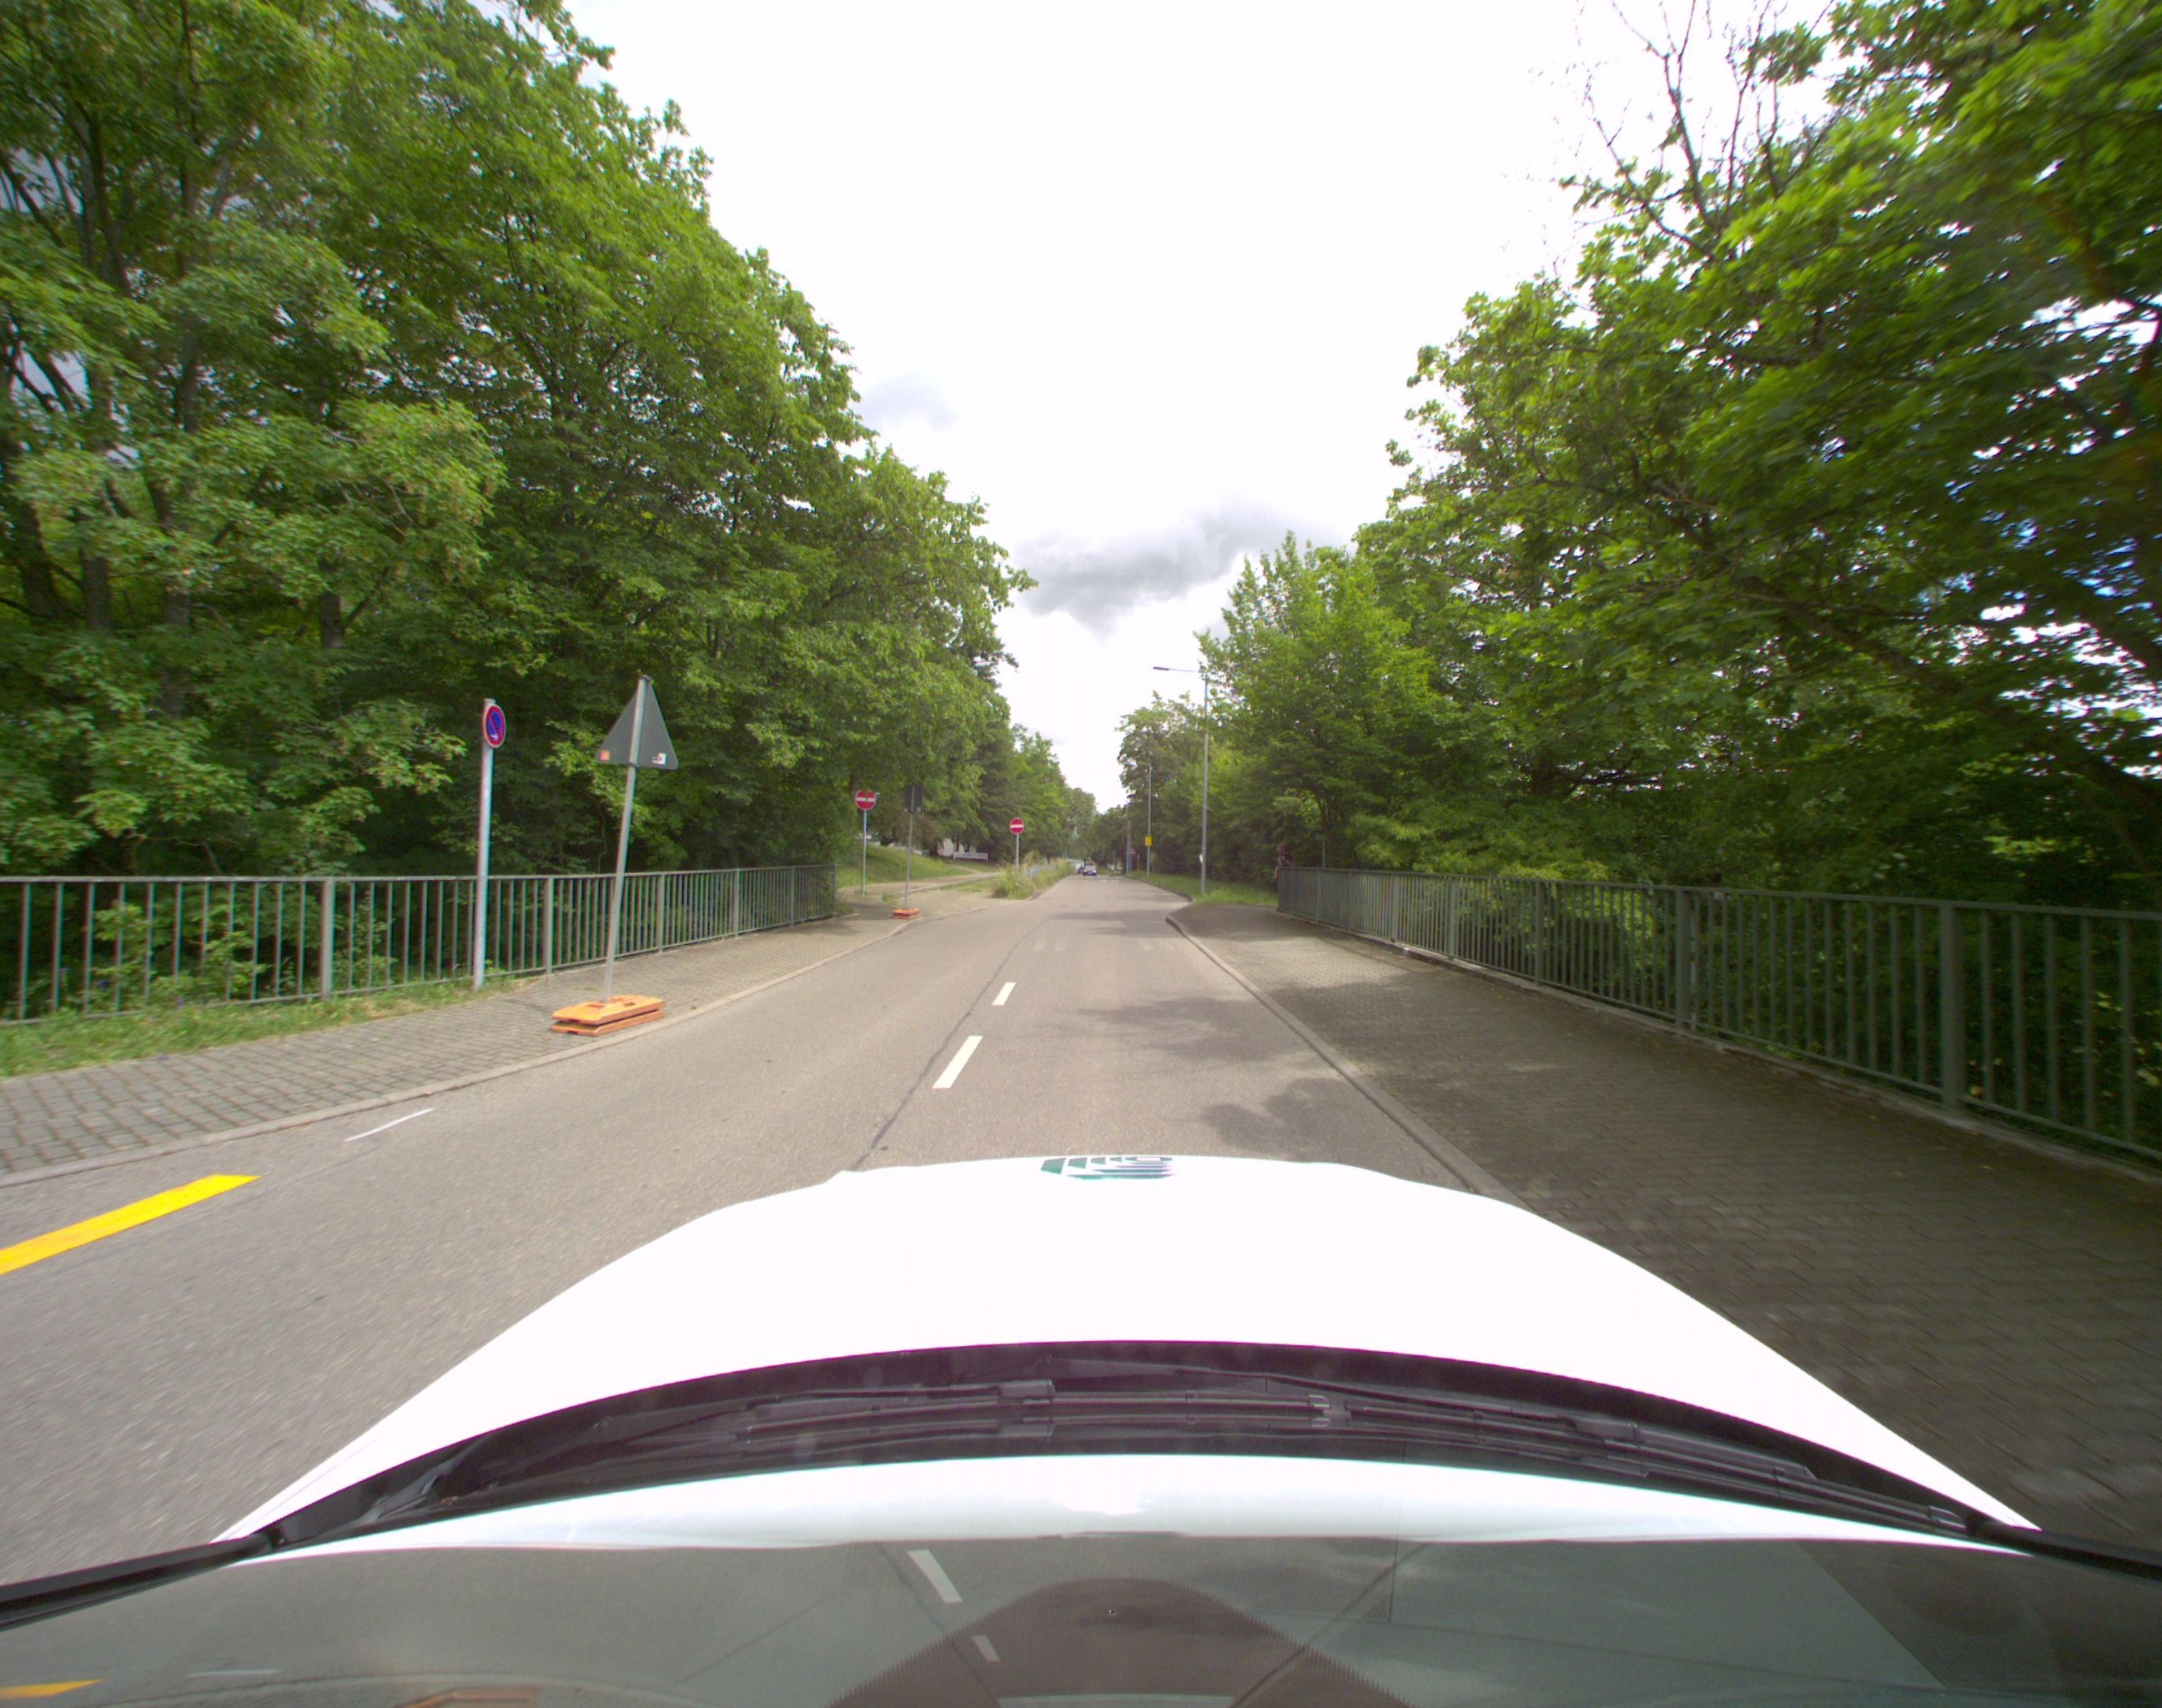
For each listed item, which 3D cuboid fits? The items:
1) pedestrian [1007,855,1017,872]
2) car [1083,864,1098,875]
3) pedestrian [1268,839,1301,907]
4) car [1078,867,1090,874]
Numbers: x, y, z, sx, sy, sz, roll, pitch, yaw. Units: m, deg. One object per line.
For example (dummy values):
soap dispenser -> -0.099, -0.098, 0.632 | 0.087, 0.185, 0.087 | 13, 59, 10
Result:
pedestrian -> -8.194, 1.153, 96.779 | 0.872, 2.014, 0.867 | 3, -5, -44
car -> 1.158, 1.958, 102.596 | 1.686, 1.349, 4.097 | 1, 0, 3
pedestrian -> 5.425, 0.513, 21.714 | 0.679, 1.783, 0.587 | 0, -1, -7
car -> 0.596, 3.329, 167.830 | 1.968, 1.384, 4.009 | 2, -1, 8
